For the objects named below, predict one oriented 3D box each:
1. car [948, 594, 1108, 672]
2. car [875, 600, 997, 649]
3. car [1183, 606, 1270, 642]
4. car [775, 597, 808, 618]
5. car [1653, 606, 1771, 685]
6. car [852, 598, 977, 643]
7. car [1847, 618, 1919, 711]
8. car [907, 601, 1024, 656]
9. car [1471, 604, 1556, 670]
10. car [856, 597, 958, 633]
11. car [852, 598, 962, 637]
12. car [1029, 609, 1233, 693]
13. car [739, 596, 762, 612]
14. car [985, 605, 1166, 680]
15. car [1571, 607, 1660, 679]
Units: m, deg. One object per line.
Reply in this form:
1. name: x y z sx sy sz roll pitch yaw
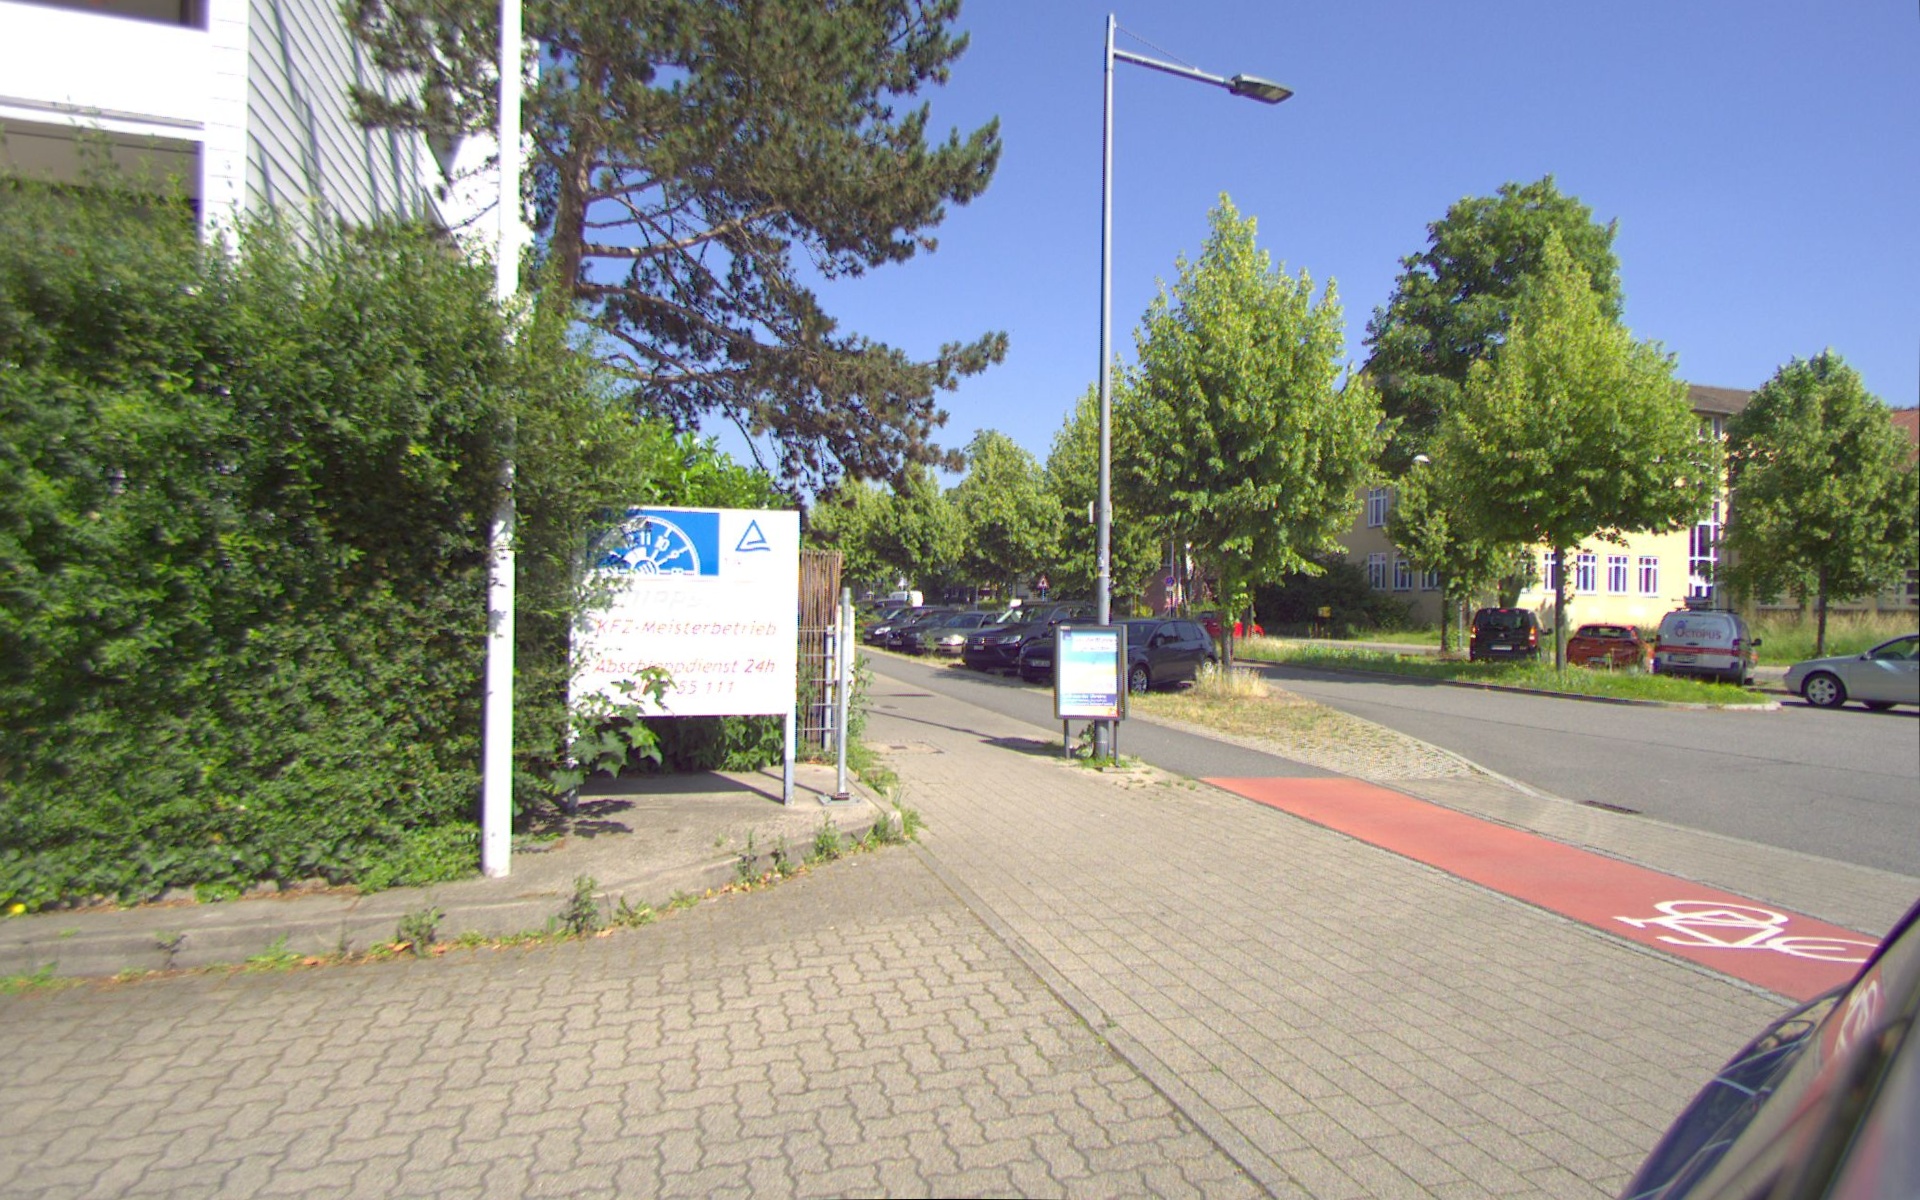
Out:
1. car: 1.786 0.807 25.220 1.697 1.742 4.338 2 -1 40
2. car: -0.738 0.778 33.402 1.697 1.500 4.164 1 0 40
3. car: 12.163 1.096 46.106 3.655 1.408 1.881 3 -1 -36
4. car: -12.615 0.541 75.629 1.669 1.500 4.234 1 0 -20
5. car: 18.829 1.114 25.269 1.875 1.744 4.158 2 0 43
6. car: -1.599 0.737 36.043 4.143 1.500 1.706 1 0 -33
7. car: 16.792 1.080 15.768 1.703 1.503 4.168 2 -1 -18
8. car: 0.242 0.825 30.720 1.690 1.500 4.180 1 0 30
9. car: 16.622 1.092 30.287 1.869 1.744 4.174 3 -1 33
10. car: -2.347 0.669 44.551 4.137 1.500 1.708 1 0 -22
11. car: -2.163 0.710 41.468 4.137 1.500 1.708 1 0 -22
12. car: 3.479 1.006 20.108 4.155 1.435 1.877 3 -1 -44
13. car: -20.608 0.409 99.539 1.669 1.500 4.234 1 0 -20
14. car: 2.699 0.959 23.092 4.155 1.500 1.877 3 -1 -44
15. car: 18.072 1.158 27.918 1.869 1.744 4.174 3 -1 33
